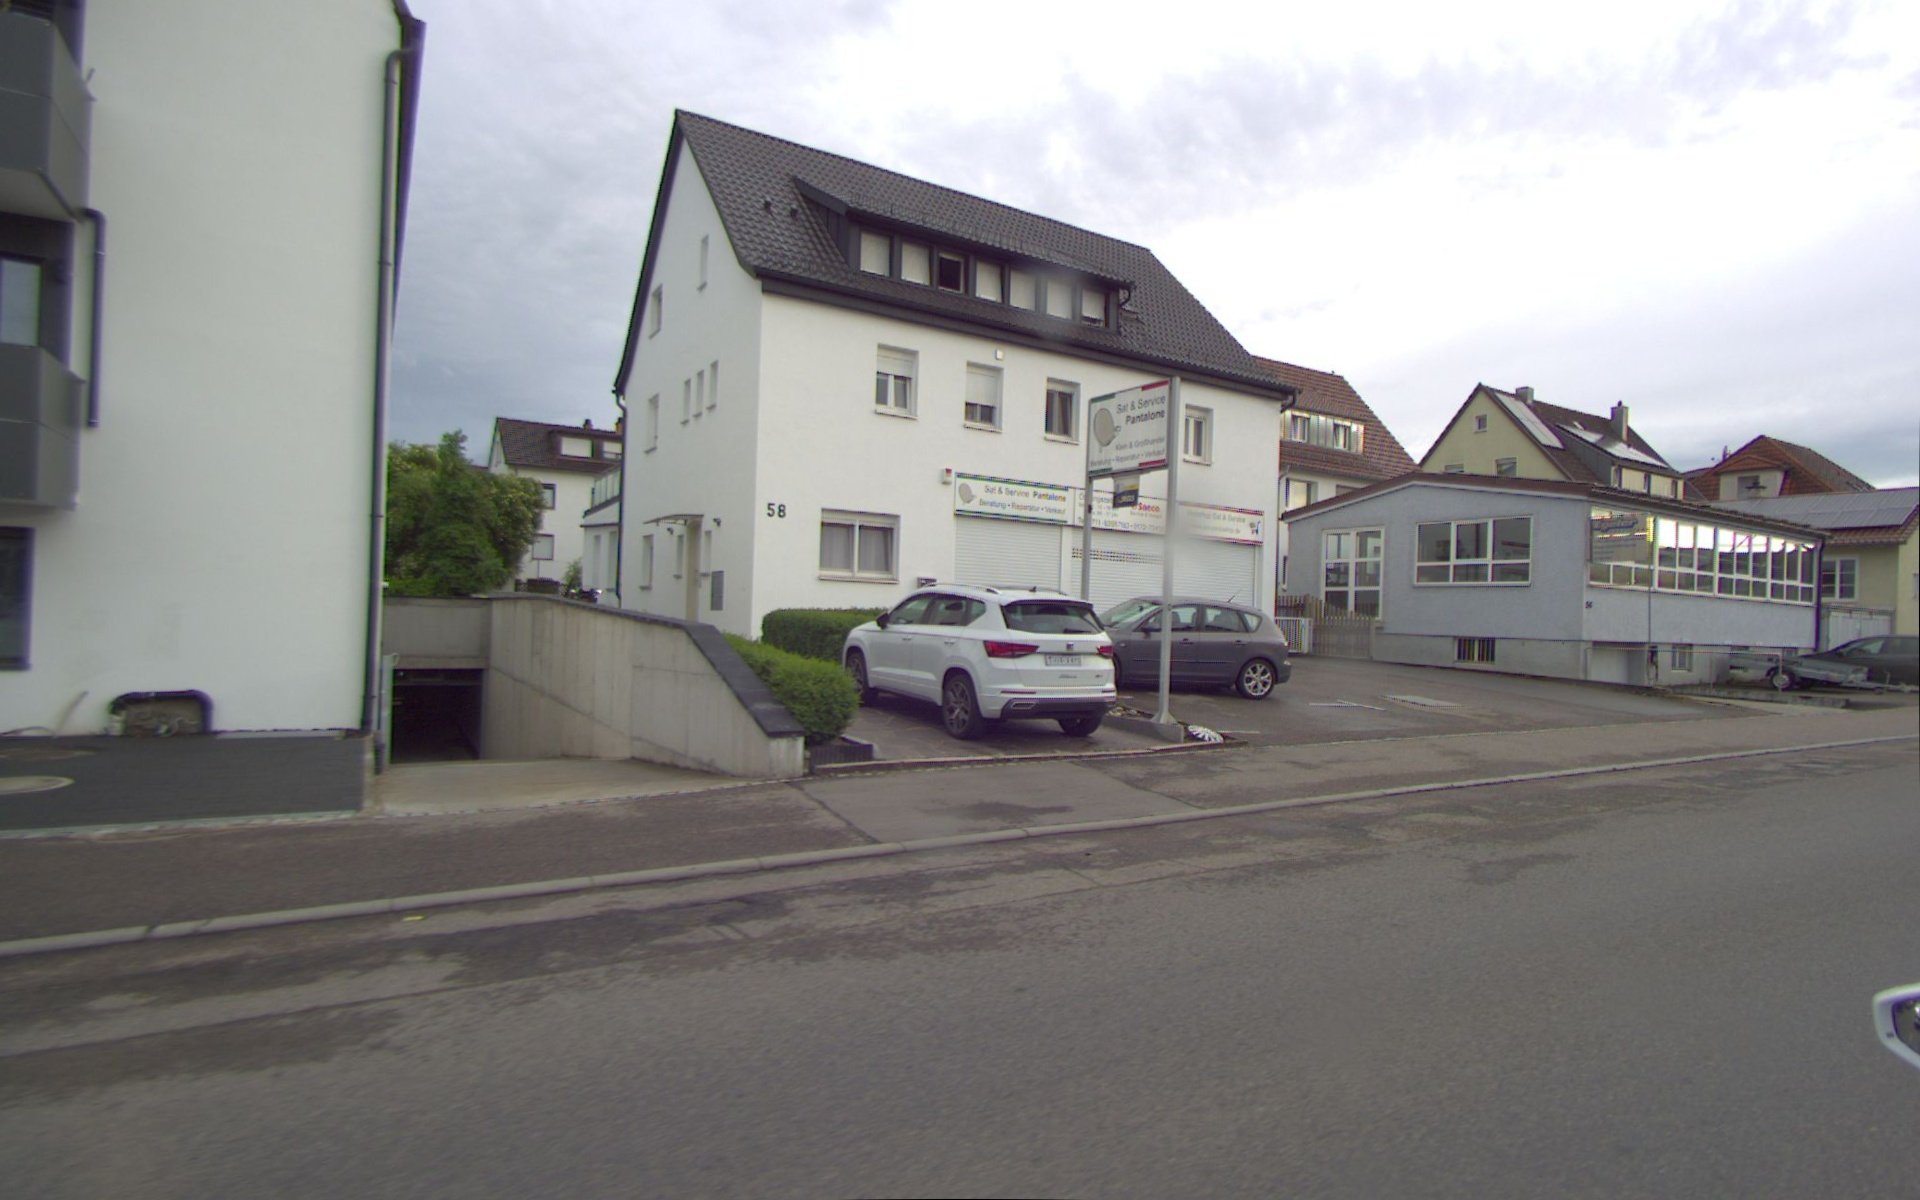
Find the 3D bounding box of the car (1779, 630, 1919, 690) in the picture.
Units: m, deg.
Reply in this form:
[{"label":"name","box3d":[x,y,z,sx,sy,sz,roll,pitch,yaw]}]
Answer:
[{"label":"car","box3d":[24.758,1.590,27.040,1.747,1.457,3.854,1,-1,-31]}]

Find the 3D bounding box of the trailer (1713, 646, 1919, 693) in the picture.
[{"label":"trailer","box3d":[22.399,1.747,26.127,1.775,0.955,4.173,2,-1,-32]}]

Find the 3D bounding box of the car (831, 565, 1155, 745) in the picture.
[{"label":"car","box3d":[0.198,0.505,11.991,1.978,1.669,3.965,1,2,-32]}]

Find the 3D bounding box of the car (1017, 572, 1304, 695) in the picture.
[{"label":"car","box3d":[3.092,0.508,15.766,3.934,1.550,1.819,3,4,-16]}]

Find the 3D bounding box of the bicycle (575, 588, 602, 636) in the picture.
[{"label":"bicycle","box3d":[-10.809,0.321,29.181,0.598,1.316,2.878,1,0,-22]}]
